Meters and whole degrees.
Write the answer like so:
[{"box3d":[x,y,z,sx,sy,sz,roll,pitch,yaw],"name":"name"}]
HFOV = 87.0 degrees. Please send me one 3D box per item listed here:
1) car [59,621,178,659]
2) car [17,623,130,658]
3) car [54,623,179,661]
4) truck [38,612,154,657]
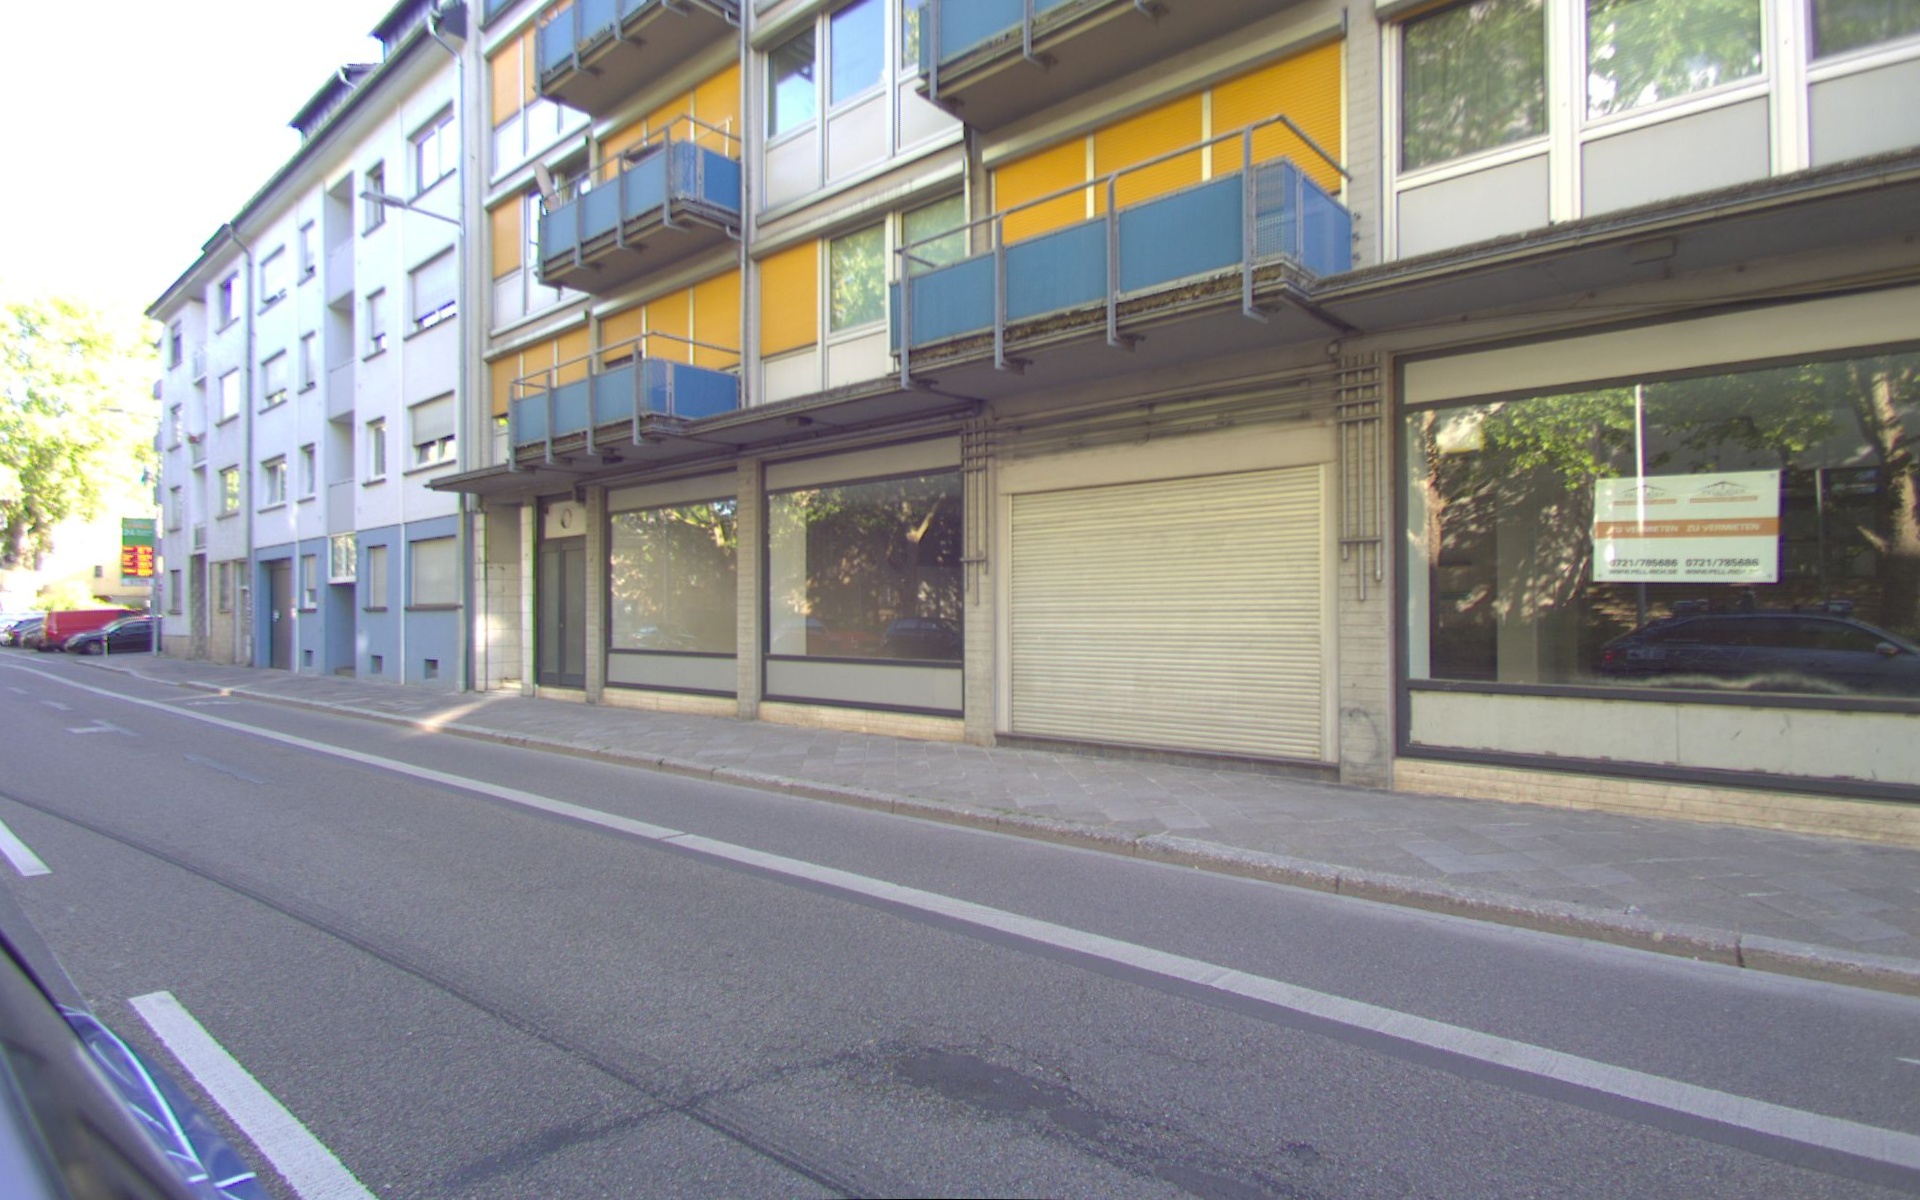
[{"box3d":[-38.112,1.770,45.901,1.761,1.514,3.944,-1,0,42],"name":"car"},{"box3d":[-42.913,1.915,49.039,1.761,1.514,3.944,-1,0,42],"name":"car"},{"box3d":[-36.631,1.773,44.013,1.761,1.468,3.944,-1,0,42],"name":"car"},{"box3d":[-40.503,1.582,47.492,1.761,1.951,3.944,-1,0,42],"name":"truck"}]
